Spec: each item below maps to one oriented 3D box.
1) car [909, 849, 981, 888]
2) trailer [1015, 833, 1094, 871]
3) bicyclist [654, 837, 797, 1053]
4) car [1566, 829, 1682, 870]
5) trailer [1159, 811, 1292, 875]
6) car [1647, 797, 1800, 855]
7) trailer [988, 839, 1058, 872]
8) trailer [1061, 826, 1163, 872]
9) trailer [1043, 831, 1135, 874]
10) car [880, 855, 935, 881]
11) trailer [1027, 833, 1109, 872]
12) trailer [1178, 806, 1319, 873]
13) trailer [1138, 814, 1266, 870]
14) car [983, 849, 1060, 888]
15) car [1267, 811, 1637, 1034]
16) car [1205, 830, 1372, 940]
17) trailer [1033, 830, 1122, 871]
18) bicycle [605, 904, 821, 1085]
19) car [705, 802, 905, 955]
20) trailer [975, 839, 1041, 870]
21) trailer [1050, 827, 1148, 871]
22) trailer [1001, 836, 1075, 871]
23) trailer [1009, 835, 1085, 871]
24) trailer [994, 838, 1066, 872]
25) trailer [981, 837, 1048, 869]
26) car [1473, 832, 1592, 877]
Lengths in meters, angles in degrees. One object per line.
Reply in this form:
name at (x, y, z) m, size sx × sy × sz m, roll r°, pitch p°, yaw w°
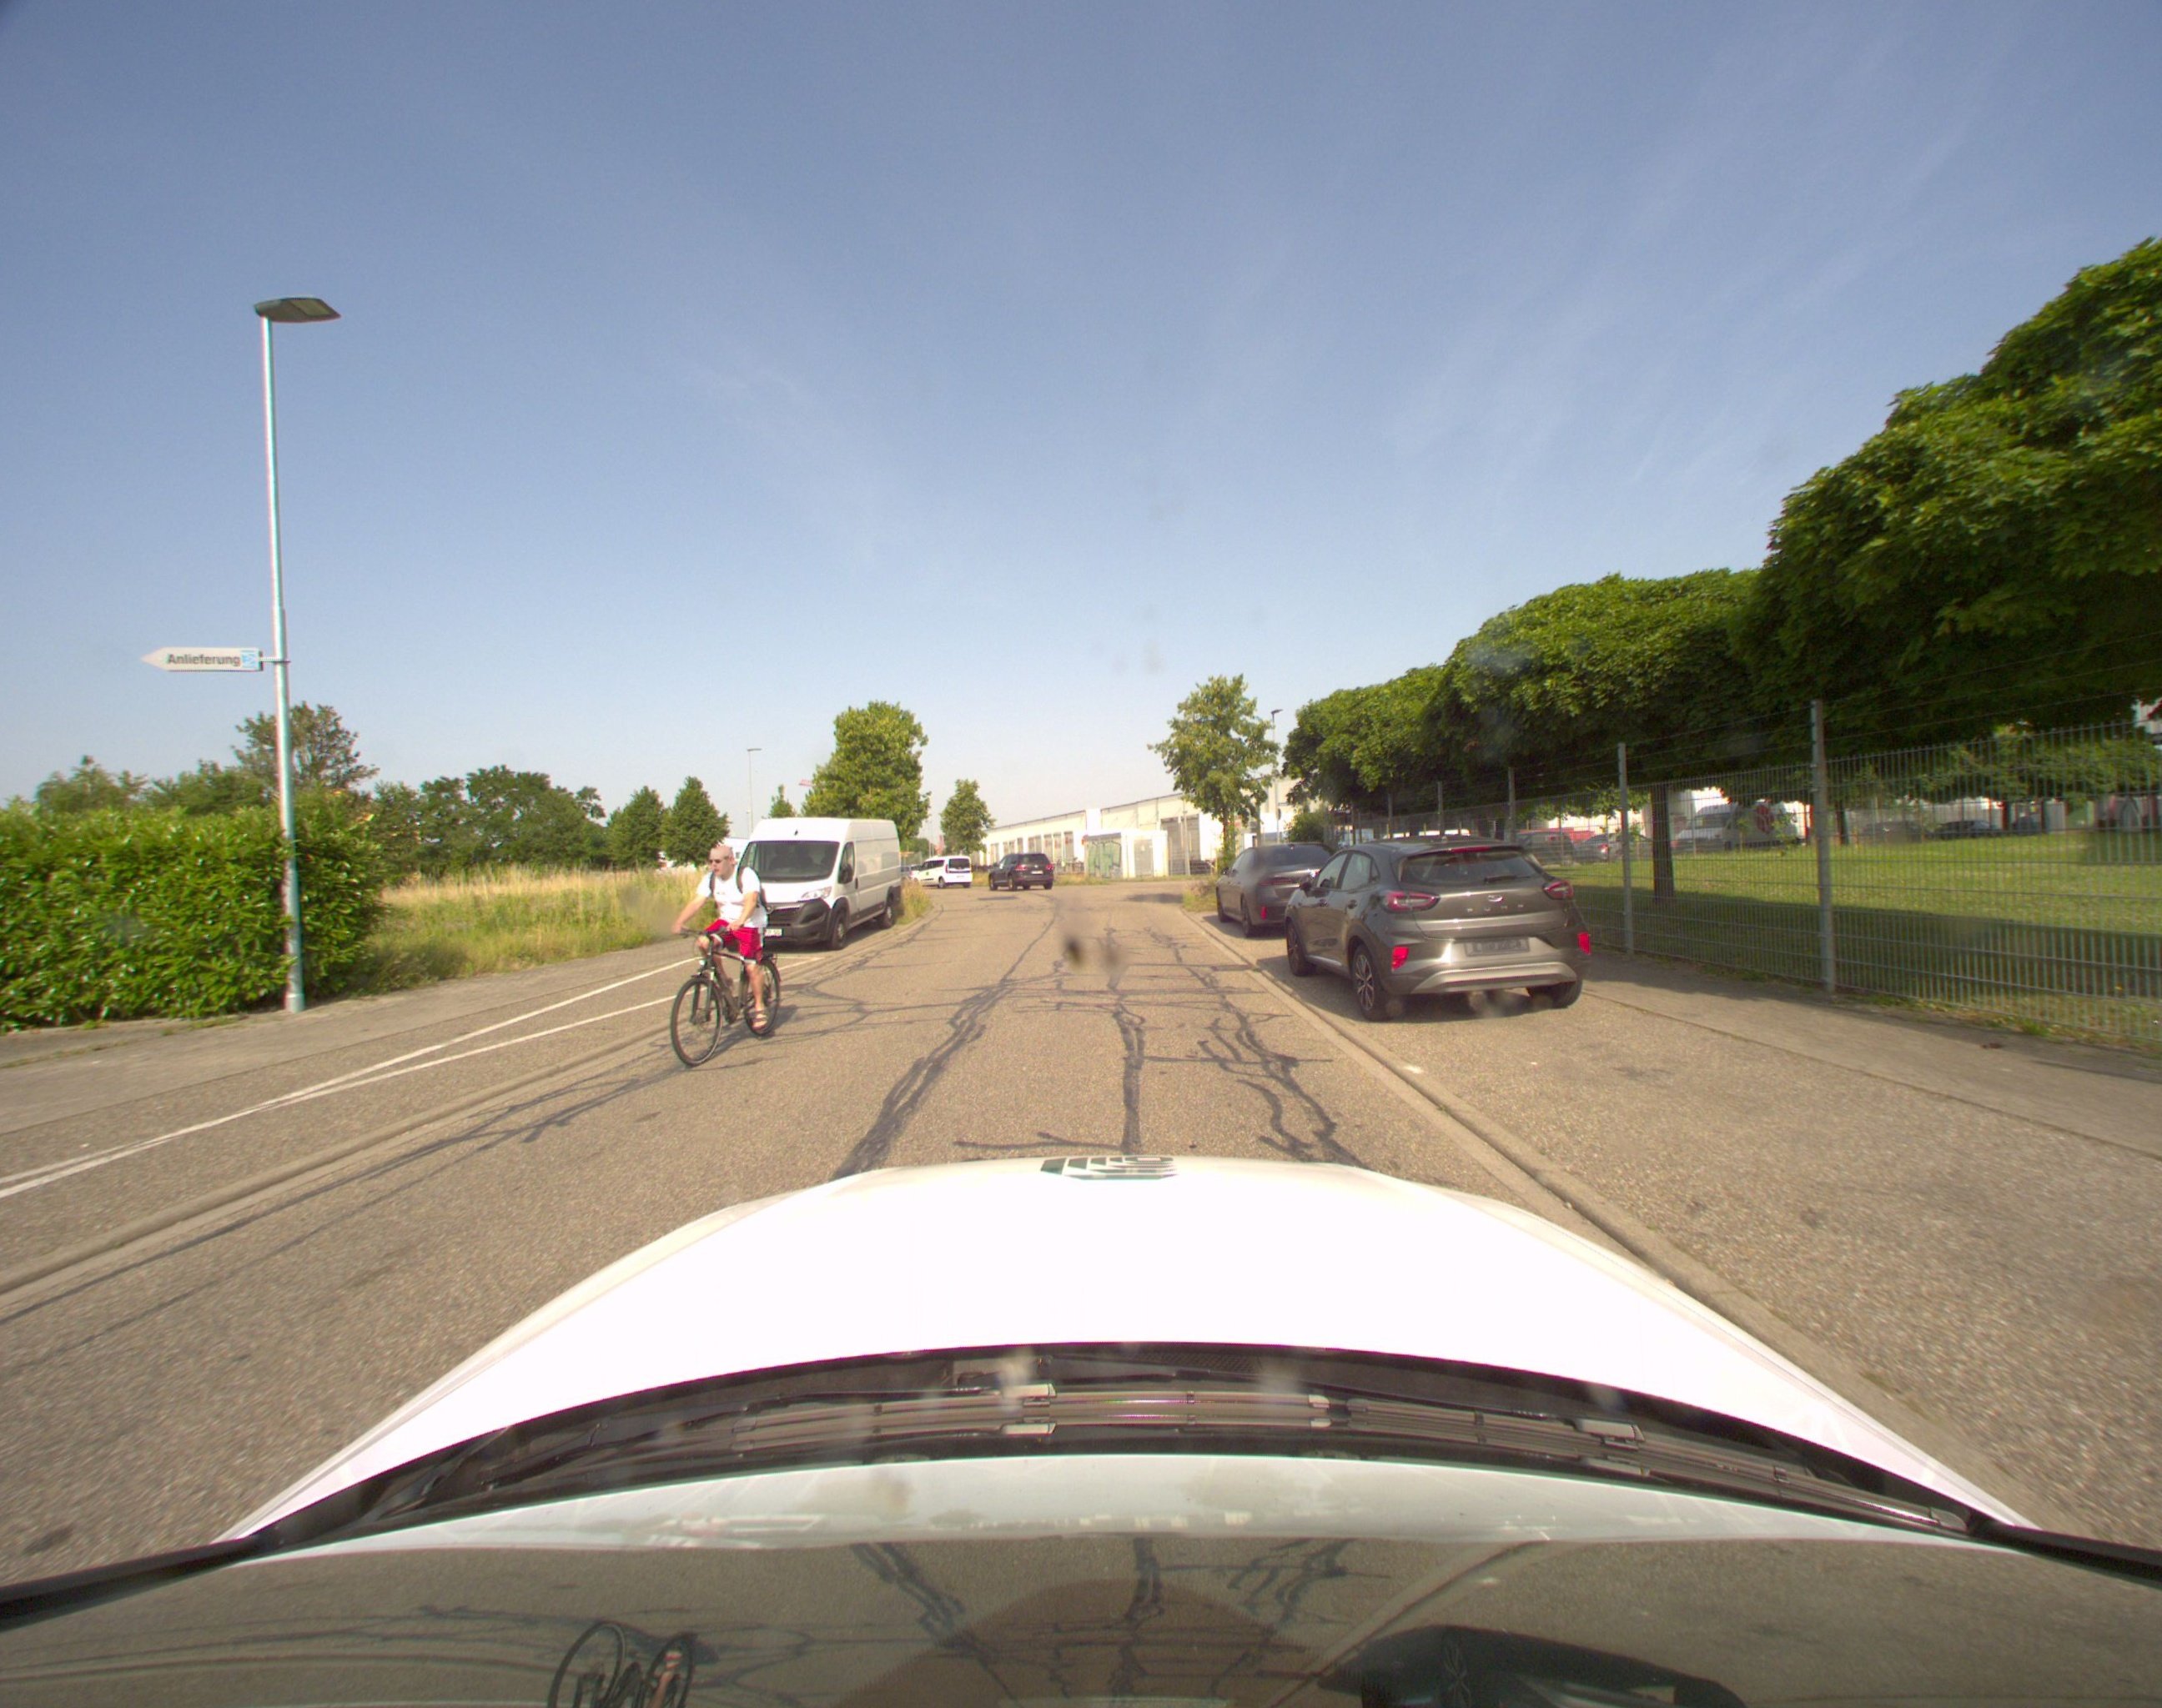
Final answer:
car at (-7.998, 0.897, 47.523) m, size 2.139 × 2.110 × 4.571 m, roll -2°, pitch -1°, yaw -39°
trailer at (-2.832, -0.167, 86.686) m, size 7.995 × 3.893 × 2.755 m, roll 0°, pitch 0°, yaw -23°
bicyclist at (-3.079, 0.734, 7.166) m, size 0.637 × 1.719 × 1.166 m, roll -2°, pitch 0°, yaw 2°
car at (23.358, -0.197, 35.049) m, size 4.490 × 1.518 × 1.717 m, roll -2°, pitch -2°, yaw -18°
trailer at (9.851, -0.790, 55.303) m, size 8.568 × 3.893 × 2.756 m, roll -3°, pitch 0°, yaw -21°
car at (30.028, -1.329, 38.037) m, size 6.845 × 2.483 × 2.194 m, roll -2°, pitch 1°, yaw -18°
trailer at (-7.007, 0.217, 98.903) m, size 7.995 × 3.893 × 2.755 m, roll 0°, pitch 0°, yaw -23°
trailer at (2.748, -0.429, 71.595) m, size 8.571 × 3.893 × 2.755 m, roll 0°, pitch 0°, yaw -23°
trailer at (0.778, -0.140, 77.432) m, size 8.341 × 3.893 × 2.755 m, roll 0°, pitch 0°, yaw -23°
car at (-12.290, 1.002, 57.611) m, size 1.815 × 1.625 × 4.396 m, roll -4°, pitch 1°, yaw -41°
trailer at (-1.373, -0.194, 84.086) m, size 8.066 × 3.893 × 2.755 m, roll 0°, pitch 0°, yaw -23°
trailer at (10.789, -0.932, 52.328) m, size 8.565 × 3.894 × 2.756 m, roll -2°, pitch -3°, yaw -20°
trailer at (8.638, -0.865, 57.984) m, size 8.767 × 3.761 × 2.770 m, roll -1°, pitch -1°, yaw -22°
car at (-2.760, 0.676, 36.867) m, size 1.892 × 1.586 × 4.075 m, roll -2°, pitch -1°, yaw -28°
car at (3.276, 0.536, 8.226) m, size 1.874 × 1.574 × 4.115 m, roll -4°, pitch -1°, yaw 2°
car at (3.583, 0.497, 15.118) m, size 1.873 × 1.574 × 5.120 m, roll -4°, pitch -1°, yaw 2°
trailer at (-0.321, -0.298, 80.270) m, size 8.341 × 3.893 × 2.755 m, roll 0°, pitch 0°, yaw -23°
bicycle at (-3.054, 1.101, 7.082) m, size 0.713 × 1.122 × 2.220 m, roll -5°, pitch 0°, yaw 2°
car at (-5.387, 0.375, 17.074) m, size 2.096 × 2.595 × 6.500 m, roll 0°, pitch 1°, yaw -1°
trailer at (-9.388, 0.095, 104.429) m, size 7.995 × 3.893 × 2.755 m, roll 0°, pitch 0°, yaw -23°
trailer at (1.679, -0.429, 74.601) m, size 8.571 × 3.893 × 2.755 m, roll 0°, pitch 0°, yaw -23°
trailer at (-4.916, -0.042, 92.515) m, size 7.995 × 3.893 × 2.755 m, roll 0°, pitch 0°, yaw -23°
trailer at (-3.731, -0.095, 89.557) m, size 7.995 × 3.893 × 2.755 m, roll 0°, pitch 0°, yaw -23°
trailer at (-6.006, 0.142, 95.246) m, size 7.995 × 3.893 × 2.755 m, roll 0°, pitch 0°, yaw -23°
trailer at (-8.273, -0.084, 101.549) m, size 7.995 × 3.893 × 2.755 m, roll 0°, pitch 0°, yaw -23°
car at (18.114, -0.028, 32.713) m, size 4.269 × 1.625 × 1.865 m, roll -2°, pitch 1°, yaw -20°
